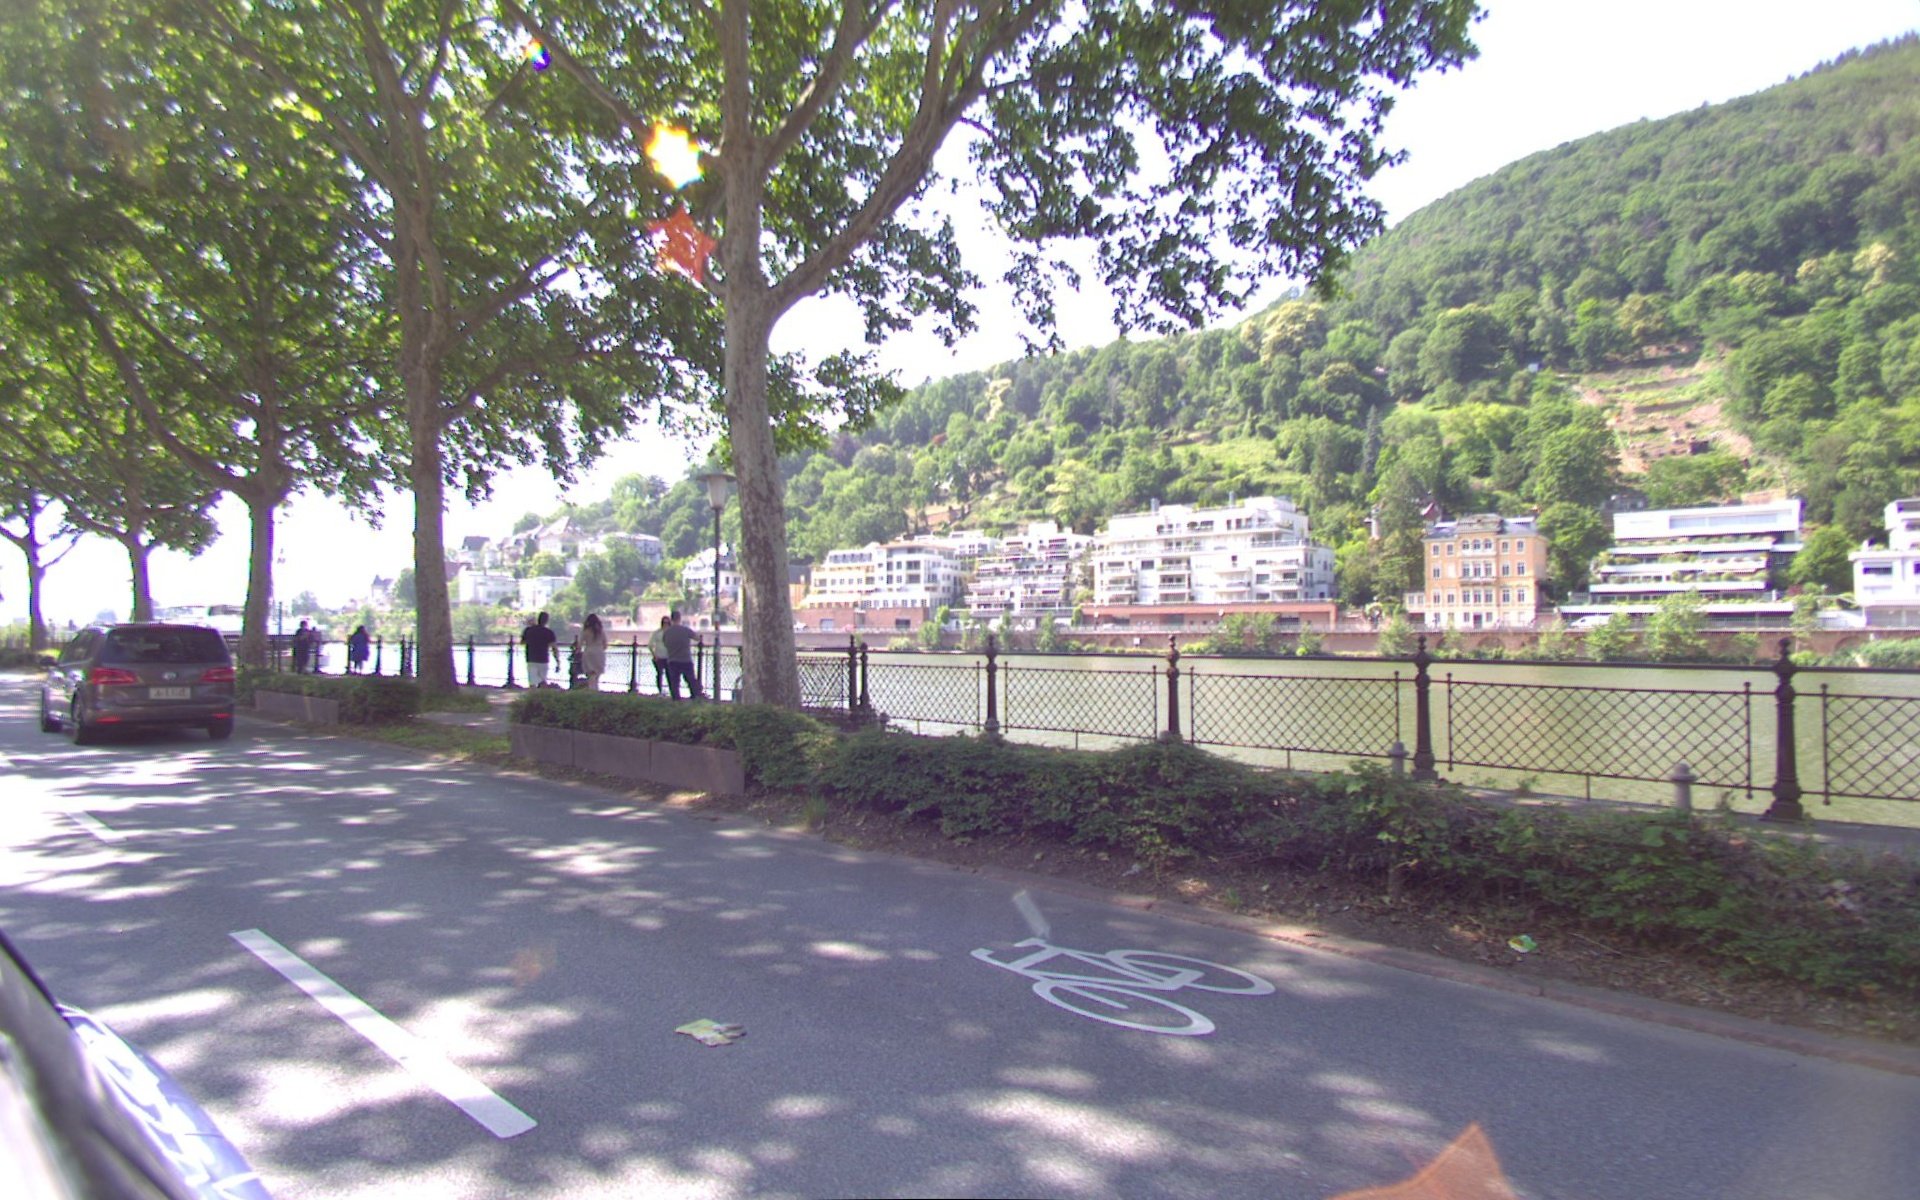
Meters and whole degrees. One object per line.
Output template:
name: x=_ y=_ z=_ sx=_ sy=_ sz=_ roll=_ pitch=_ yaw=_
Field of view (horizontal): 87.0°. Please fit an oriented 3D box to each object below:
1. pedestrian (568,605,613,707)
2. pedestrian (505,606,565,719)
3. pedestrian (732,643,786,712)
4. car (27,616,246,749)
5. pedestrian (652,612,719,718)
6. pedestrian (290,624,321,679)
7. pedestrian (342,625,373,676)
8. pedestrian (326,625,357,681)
pedestrian: x=-6.612 y=1.004 z=18.096 sx=0.592 sy=1.782 sz=0.511 roll=-2 pitch=-4 yaw=42
pedestrian: x=-7.309 y=1.065 z=17.417 sx=0.805 sy=1.884 sz=0.634 roll=-2 pitch=-4 yaw=42
pedestrian: x=-3.540 y=1.358 z=17.825 sx=0.695 sy=1.186 sz=0.602 roll=-2 pitch=-5 yaw=42
car: x=-11.967 y=1.129 z=14.624 sx=4.088 sy=1.660 sz=1.745 roll=-2 pitch=-5 yaw=42
pedestrian: x=-4.682 y=1.080 z=17.243 sx=0.873 sy=1.730 sz=0.686 roll=-2 pitch=0 yaw=40
pedestrian: x=-21.138 y=1.653 z=32.686 sx=0.705 sy=1.744 sz=0.696 roll=-2 pitch=-2 yaw=43
pedestrian: x=-19.401 y=1.618 z=32.582 sx=0.705 sy=1.615 sz=0.696 roll=-2 pitch=-2 yaw=43
pedestrian: x=-20.563 y=1.746 z=33.633 sx=0.705 sy=1.810 sz=0.696 roll=-2 pitch=-2 yaw=43
